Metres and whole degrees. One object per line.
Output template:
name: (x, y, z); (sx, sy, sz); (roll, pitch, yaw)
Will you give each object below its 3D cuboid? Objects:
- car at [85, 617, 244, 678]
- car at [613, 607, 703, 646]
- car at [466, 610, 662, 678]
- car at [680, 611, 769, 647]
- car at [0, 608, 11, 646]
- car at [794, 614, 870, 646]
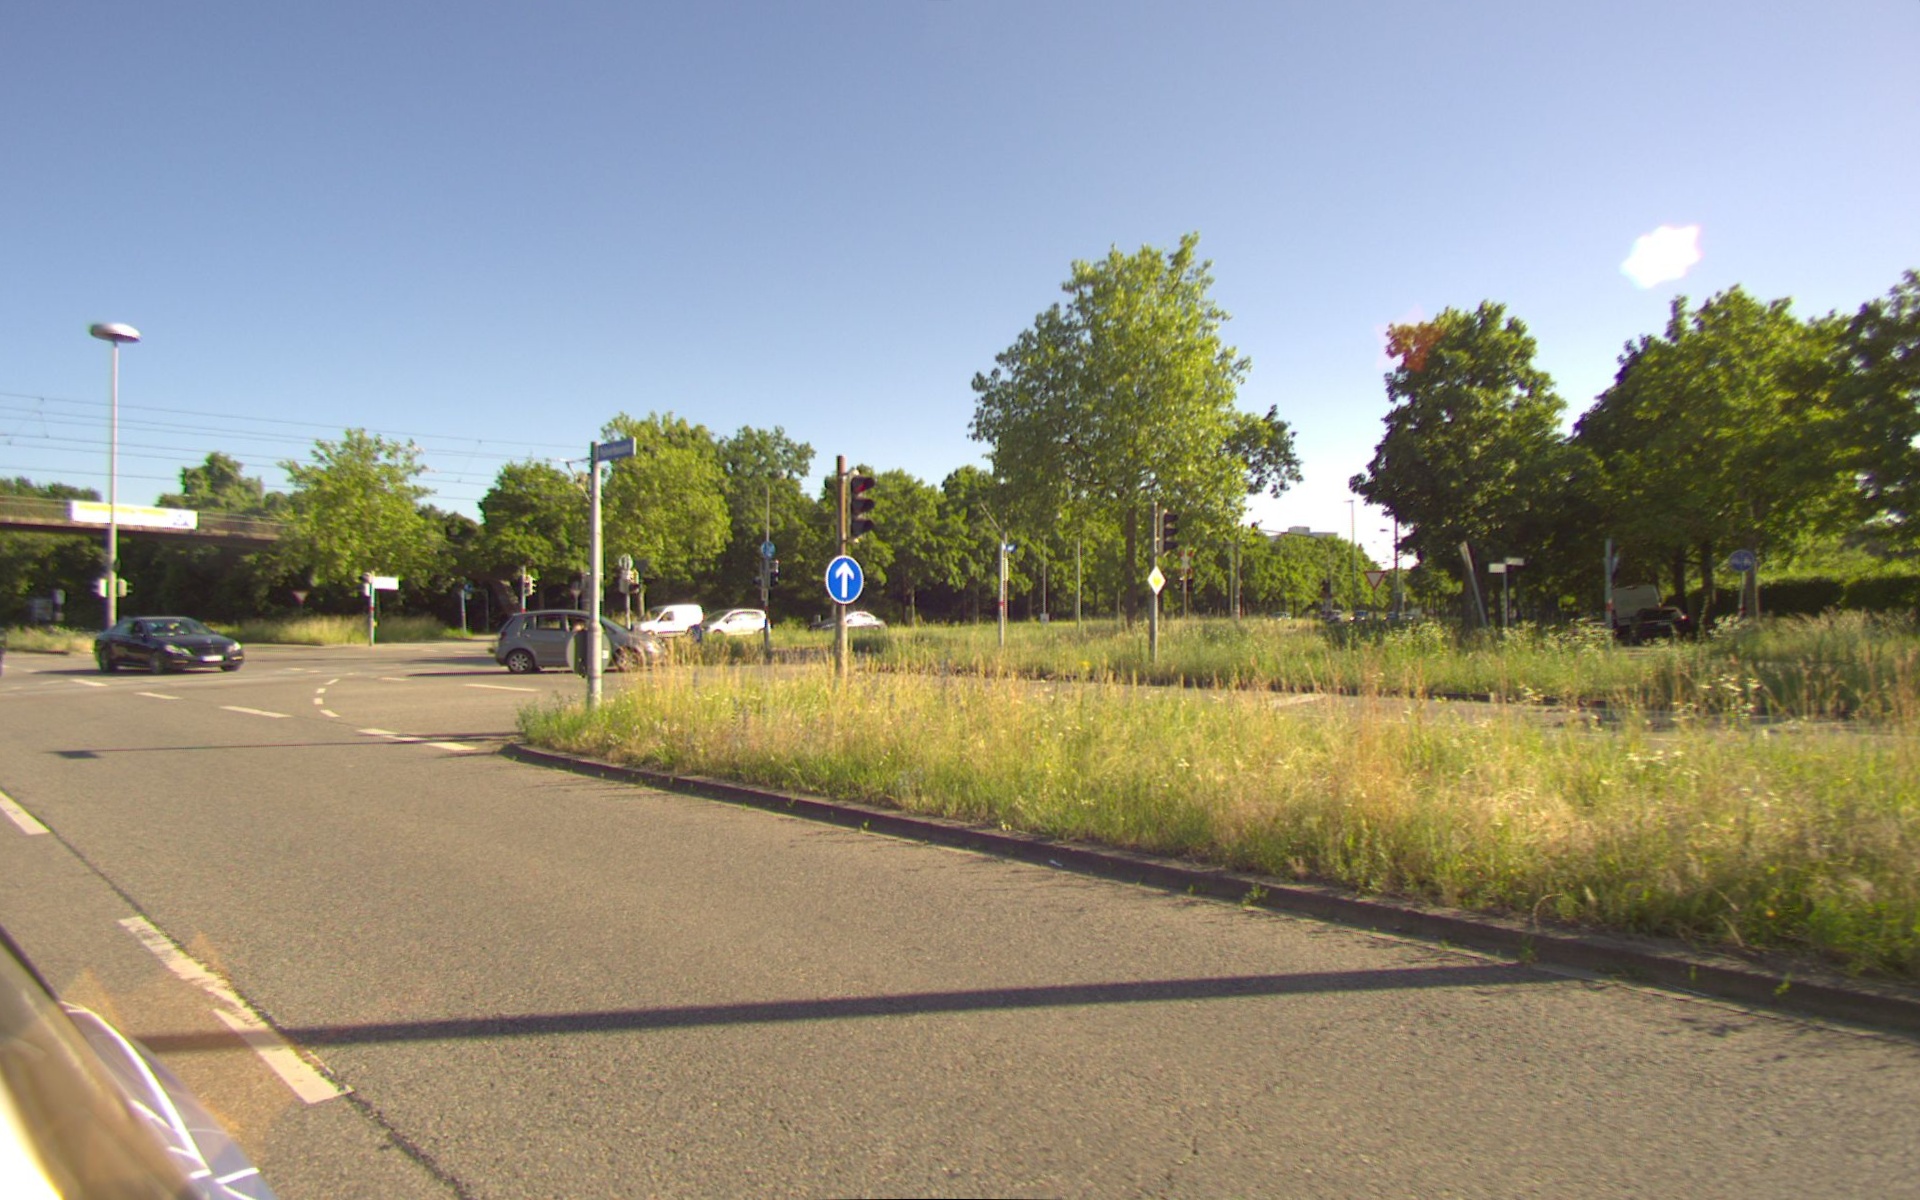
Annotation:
car: (-21.375, 1.224, 27.167); (4.510, 1.498, 1.762); (0, -1, 29)
car: (-14.409, 1.232, 48.497); (1.773, 1.768, 3.954); (-1, -1, 34)
car: (-9.958, 1.087, 25.726); (4.318, 1.582, 1.851); (-1, -1, -7)
car: (-10.943, 1.313, 47.266); (1.848, 1.572, 3.880); (-1, -1, 34)
car: (-39.918, 1.092, 40.720); (3.993, 1.507, 1.774); (-2, -4, 36)
car: (-6.654, 1.547, 52.899); (1.848, 1.572, 3.880); (-1, -1, 34)
